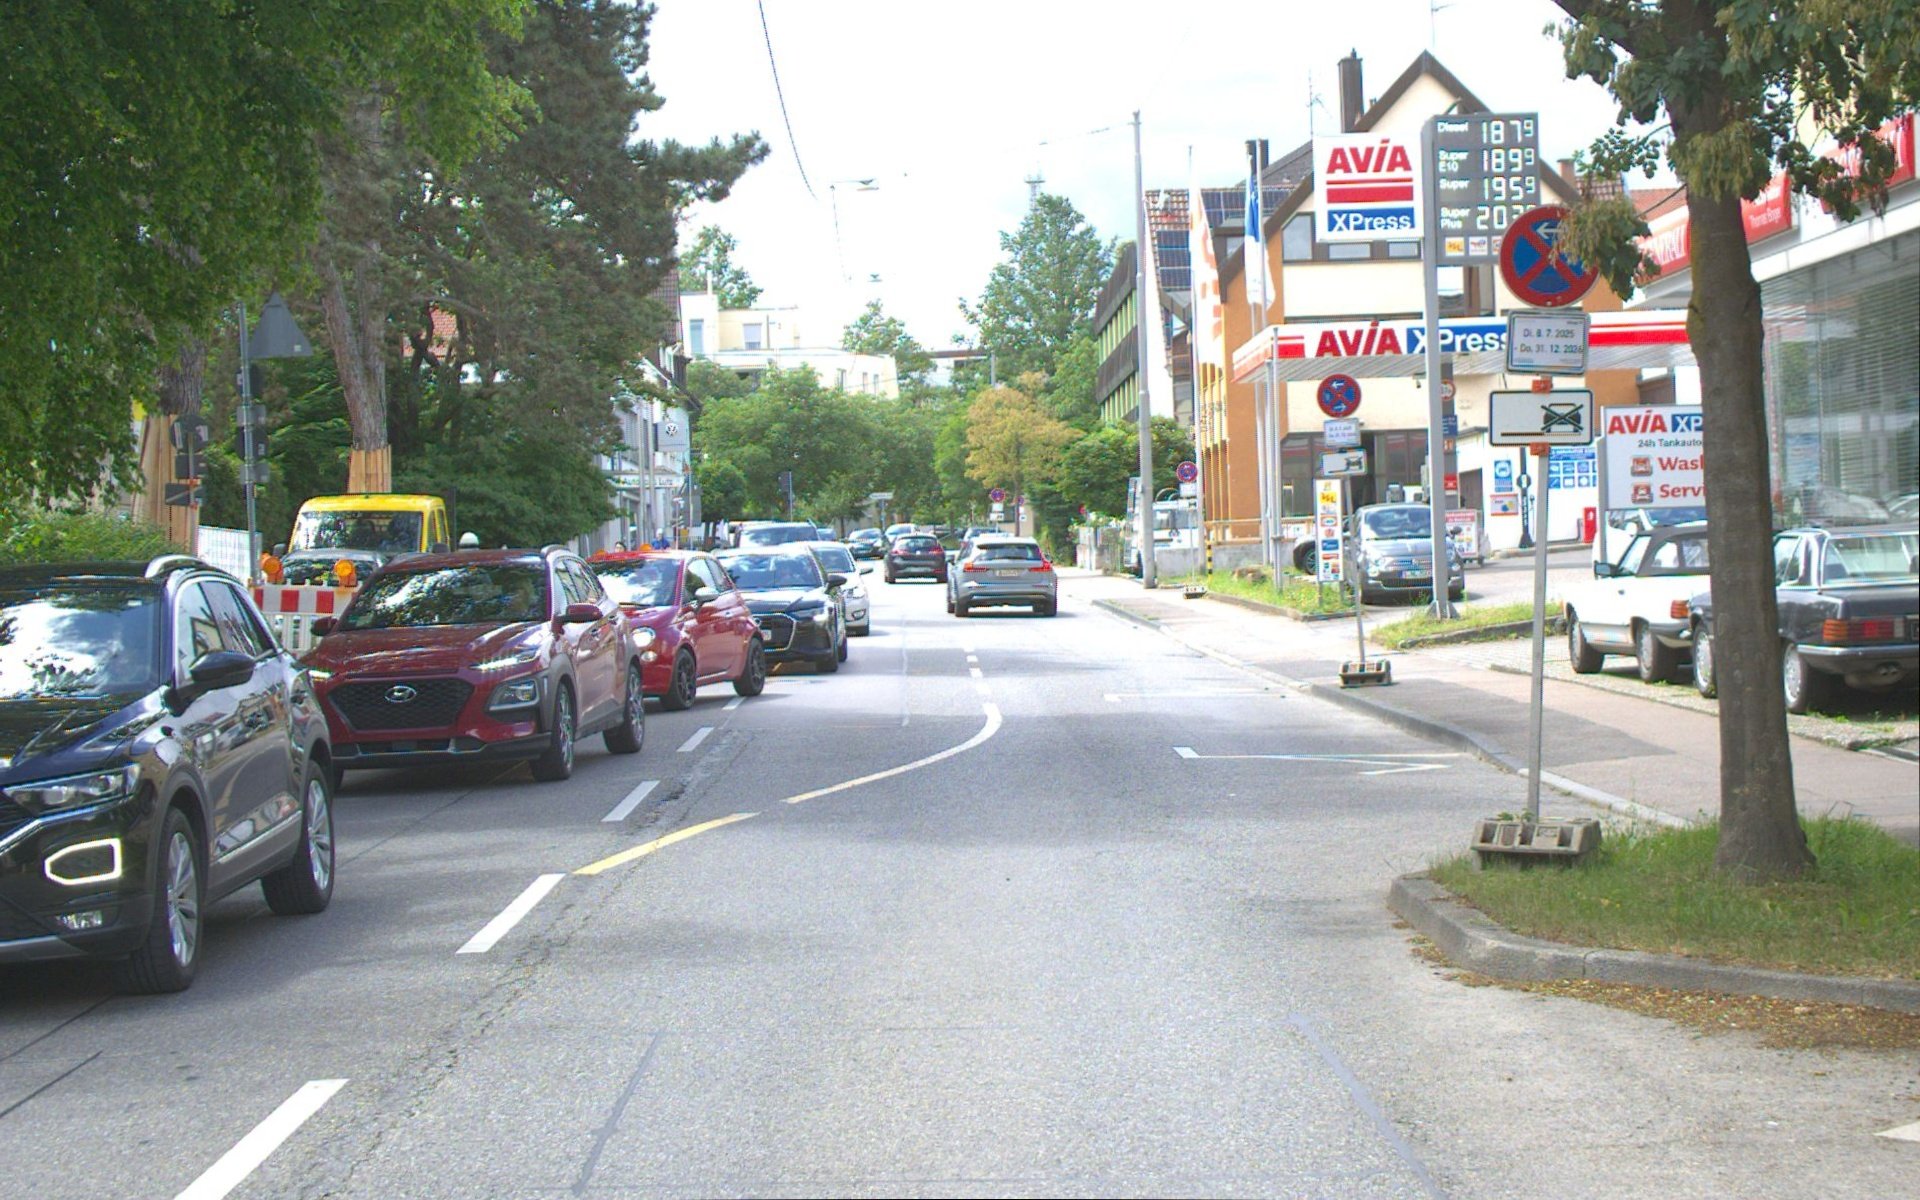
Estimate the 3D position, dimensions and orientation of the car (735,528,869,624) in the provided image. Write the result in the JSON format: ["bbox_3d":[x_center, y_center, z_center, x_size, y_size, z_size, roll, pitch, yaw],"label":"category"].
[{"bbox_3d":[-2.441,-0.385,54.035,1.959,1.389,4.296,-1,1,-1],"label":"car"}]

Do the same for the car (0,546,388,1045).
[{"bbox_3d":[-3.525,0.635,13.260,1.789,1.536,4.264,-3,2,1],"label":"car"}]

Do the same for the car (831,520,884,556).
[{"bbox_3d":[-4.631,-2.820,155.426,2.111,1.495,4.267,-2,2,2],"label":"car"}]

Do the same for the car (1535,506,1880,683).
[{"bbox_3d":[6.387,-0.100,29.877,1.722,1.359,4.485,-2,2,-4],"label":"car"}]

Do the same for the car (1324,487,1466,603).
[{"bbox_3d":[6.825,-0.894,54.229,1.784,1.629,3.692,-5,1,2],"label":"car"}]

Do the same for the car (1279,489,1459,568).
[{"bbox_3d":[9.389,-1.632,78.729,3.988,1.678,1.790,-1,1,9],"label":"car"}]

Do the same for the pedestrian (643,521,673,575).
[{"bbox_3d":[-8.219,-1.419,93.570,0.704,1.434,0.713,-1,0,3],"label":"pedestrian"}]

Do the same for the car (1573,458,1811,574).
[{"bbox_3d":[9.322,-1.079,44.083,1.841,1.351,4.070,-2,2,-5],"label":"car"}]

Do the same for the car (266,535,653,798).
[{"bbox_3d":[-3.367,0.389,23.902,1.762,1.528,4.096,-3,2,4],"label":"car"}]

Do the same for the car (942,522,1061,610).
[{"bbox_3d":[0.733,-0.654,63.904,1.976,1.508,4.267,1,1,-2],"label":"car"}]

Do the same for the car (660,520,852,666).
[{"bbox_3d":[-2.333,-0.099,40.378,1.929,1.572,4.296,-1,1,0],"label":"car"}]

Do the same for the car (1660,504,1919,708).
[{"bbox_3d":[6.466,-0.020,24.825,1.724,1.312,4.268,-1,2,-3],"label":"car"}]

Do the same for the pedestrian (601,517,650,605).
[{"bbox_3d":[-5.539,-0.648,56.890,0.704,1.434,0.714,-2,1,-12],"label":"pedestrian"}]

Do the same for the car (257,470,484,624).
[{"bbox_3d":[-8.158,-0.732,48.031,2.146,1.974,4.931,-1,1,2],"label":"car"}]

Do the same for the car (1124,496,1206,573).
[{"bbox_3d":[5.542,-1.768,93.301,1.993,2.007,4.000,-1,1,1],"label":"car"}]

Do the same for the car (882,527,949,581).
[{"bbox_3d":[-1.319,-1.354,99.990,1.816,1.495,4.267,-1,2,-3],"label":"car"}]

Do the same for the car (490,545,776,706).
[{"bbox_3d":[-3.054,0.209,32.776,1.692,1.420,3.435,-1,1,13],"label":"car"}]
